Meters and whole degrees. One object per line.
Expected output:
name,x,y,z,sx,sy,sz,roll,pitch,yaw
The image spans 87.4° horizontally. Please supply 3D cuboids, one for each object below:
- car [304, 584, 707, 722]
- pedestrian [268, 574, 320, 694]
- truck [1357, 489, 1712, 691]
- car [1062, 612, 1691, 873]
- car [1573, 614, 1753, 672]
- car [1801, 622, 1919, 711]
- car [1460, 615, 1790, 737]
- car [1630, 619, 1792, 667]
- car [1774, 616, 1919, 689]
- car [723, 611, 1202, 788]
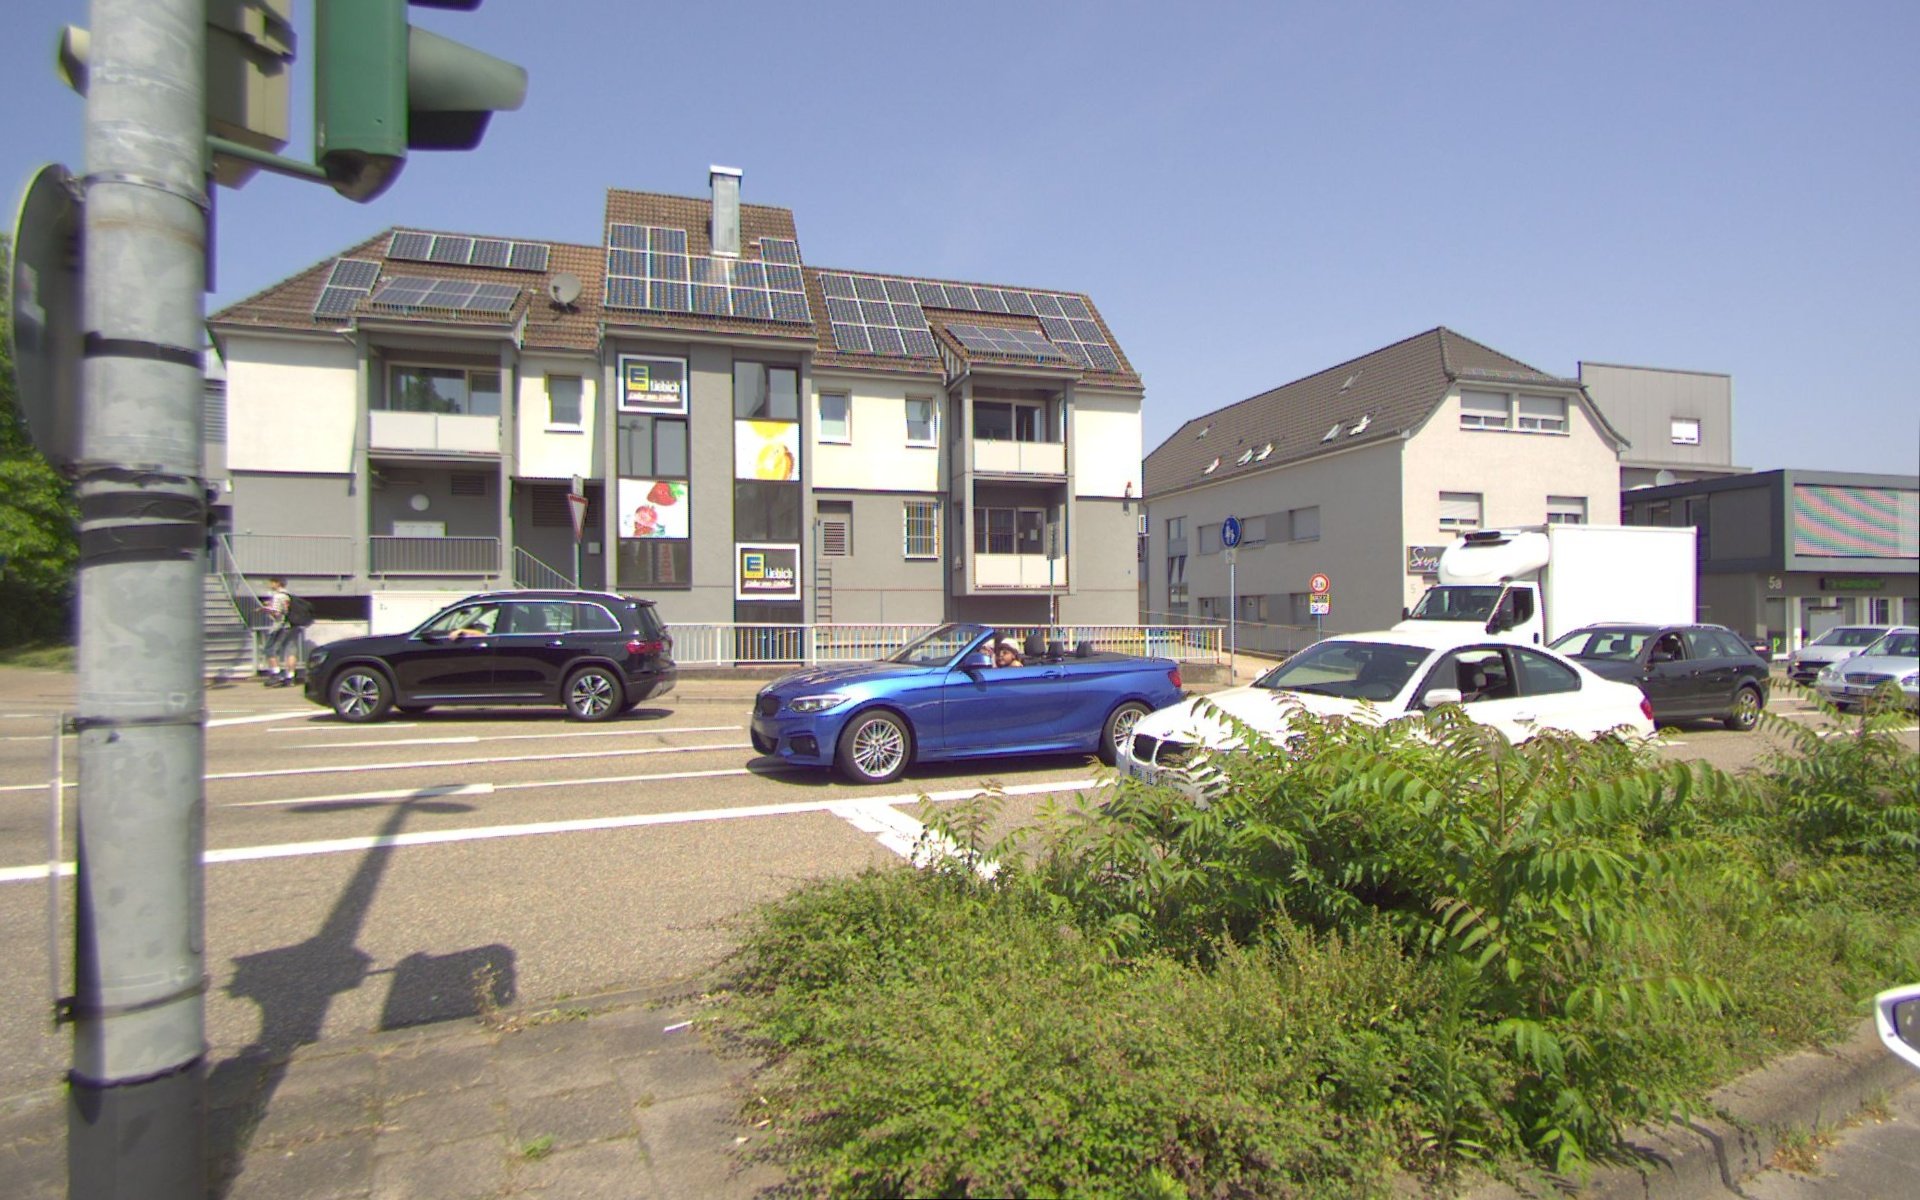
car,-5.863,0.701,13.539,4.509,1.678,1.998,1,-1,-8
pedestrian,-11.616,0.577,17.517,0.735,2.041,0.499,0,1,-35
truck,11.271,-0.051,19.612,6.939,3.463,2.259,2,0,-23
car,3.238,0.864,7.597,4.685,1.450,1.855,1,0,-28
car,23.189,1.352,33.357,1.729,1.517,4.590,0,3,-26
car,16.699,1.111,17.255,4.141,1.379,1.892,2,-1,-25
car,9.284,0.985,13.979,4.516,1.458,1.796,1,0,-26
car,25.560,1.450,34.363,1.970,1.541,4.051,1,-2,-21
car,21.543,1.234,23.802,4.141,1.587,1.892,2,-1,-25
car,0.075,0.838,9.723,4.293,1.384,1.855,1,-1,-28
